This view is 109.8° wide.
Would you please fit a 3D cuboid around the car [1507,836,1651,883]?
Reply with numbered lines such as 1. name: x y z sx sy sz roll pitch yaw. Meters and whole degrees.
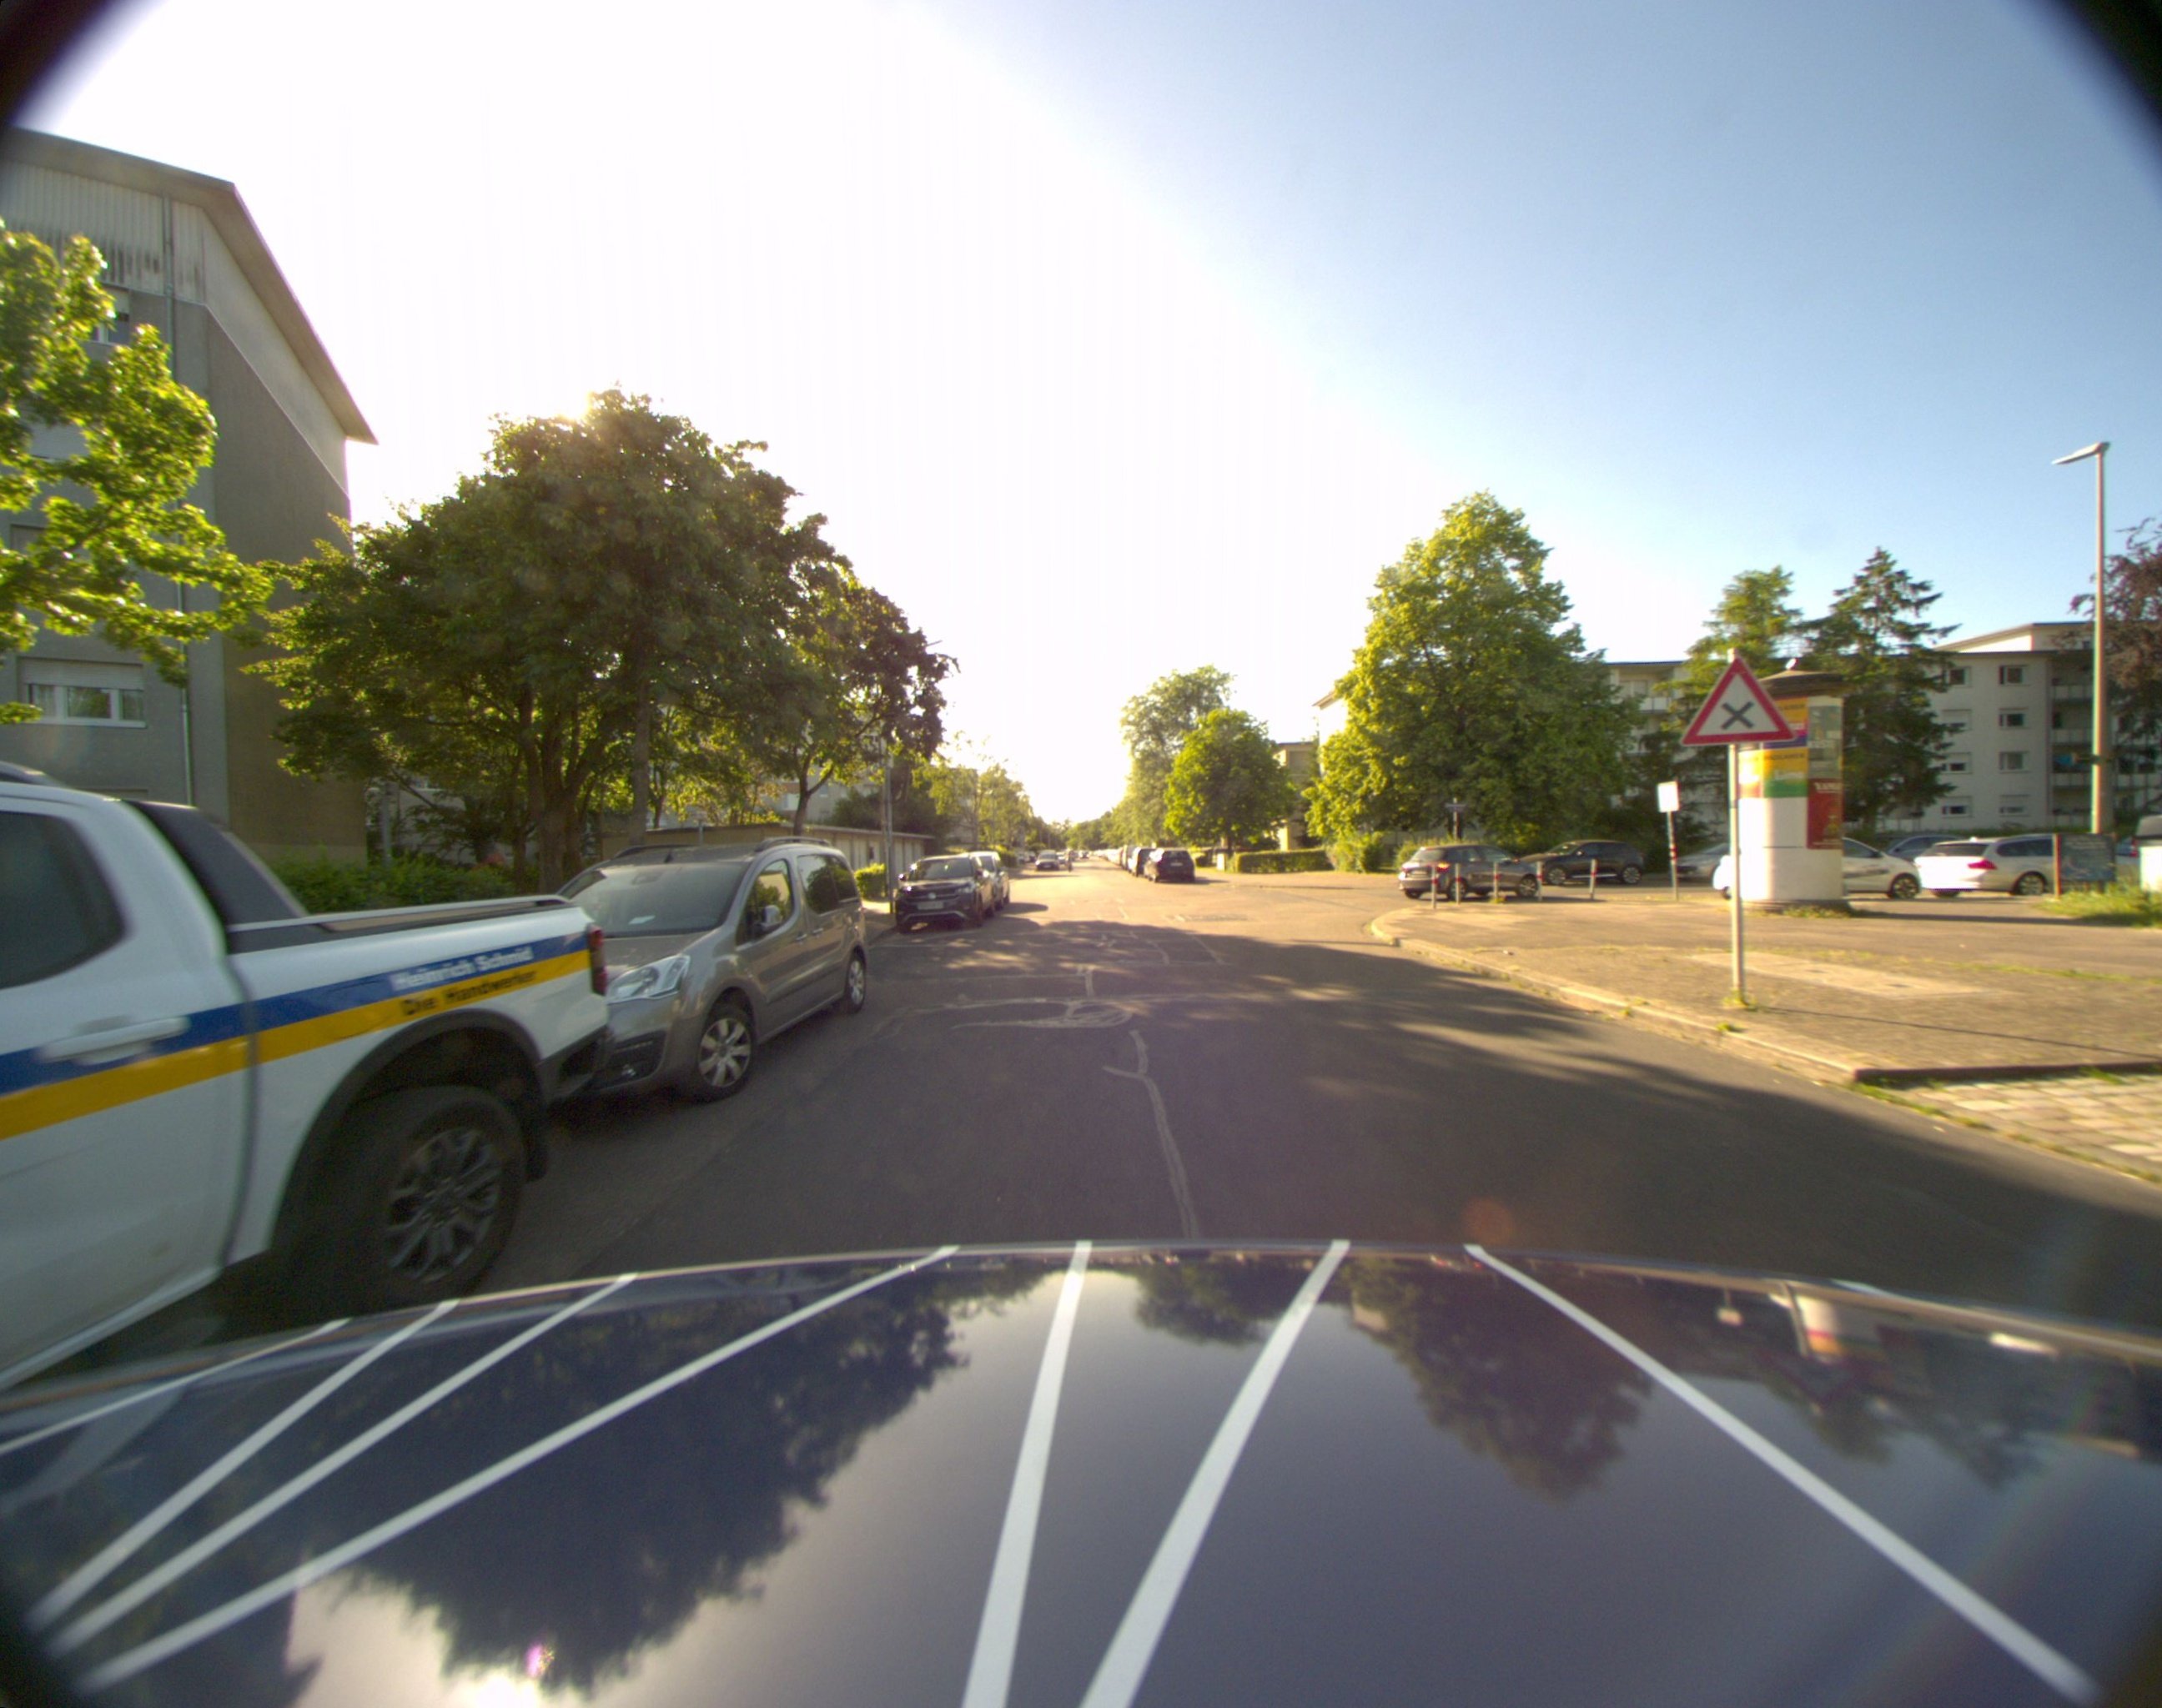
1. car: 17.383 0.168 26.629 3.925 1.534 1.745 -1 1 -2

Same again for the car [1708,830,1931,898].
1. car: 16.919 0.203 17.531 3.528 1.454 1.737 -1 1 -2

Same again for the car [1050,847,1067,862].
1. car: -2.468 0.012 84.289 1.732 1.586 3.812 -2 0 0

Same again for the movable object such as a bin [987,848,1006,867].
1. movable object such as a bin: -6.397 0.271 57.629 1.278 1.434 1.179 0 2 -2

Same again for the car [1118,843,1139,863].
1. car: 4.610 -0.089 74.423 1.732 1.941 3.812 1 1 0

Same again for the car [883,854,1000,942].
1. car: -2.976 0.869 17.074 1.809 1.585 4.022 -4 1 -1

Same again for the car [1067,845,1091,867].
1. car: -0.140 0.135 58.649 1.732 1.586 3.812 -2 0 0

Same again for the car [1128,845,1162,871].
1. car: 4.246 0.233 50.951 1.732 1.630 4.168 1 0 -2

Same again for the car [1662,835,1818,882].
1. car: 22.717 0.115 26.289 3.925 1.534 1.745 -1 1 -2

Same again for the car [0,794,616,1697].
1. car: -3.182 0.847 0.938 1.911 1.829 5.273 -4 0 -1

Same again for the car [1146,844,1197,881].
1. car: 4.140 0.376 35.352 1.784 1.565 4.423 -1 0 0

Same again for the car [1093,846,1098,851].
1. car: 4.254 -1.587 222.475 1.632 1.619 3.555 1 0 0

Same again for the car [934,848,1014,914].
1. car: -3.004 0.701 22.221 1.773 1.601 4.371 3 1 -2

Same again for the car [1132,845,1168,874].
1. car: 4.051 0.304 45.300 1.817 1.672 3.648 1 1 0

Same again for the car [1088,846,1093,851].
1. car: 2.973 -1.784 239.823 1.632 1.629 3.565 1 0 0

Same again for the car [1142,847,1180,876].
1. car: 4.256 0.369 40.647 1.627 1.428 3.653 1 0 0

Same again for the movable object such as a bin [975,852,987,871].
1. movable object such as a bin: -7.505 0.559 57.071 0.754 1.434 0.848 0 2 -2

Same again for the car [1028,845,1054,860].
1. car: -5.971 -0.266 113.444 3.777 2.002 1.810 -4 2 -1

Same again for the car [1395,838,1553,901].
1. car: 10.695 0.357 20.665 4.006 1.547 1.651 -1 2 -23

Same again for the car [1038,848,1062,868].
1. car: -2.513 0.294 61.894 1.732 1.462 3.812 -2 0 0

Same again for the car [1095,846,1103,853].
1. car: 4.132 -1.063 171.906 1.632 1.619 3.555 1 0 0

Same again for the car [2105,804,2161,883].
1. car: 27.297 -0.259 17.814 4.342 1.845 1.737 -1 2 -2

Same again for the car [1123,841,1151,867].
1. car: 4.342 0.002 59.152 1.909 1.930 4.510 1 0 1

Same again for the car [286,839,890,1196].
1. car: -3.182 0.870 6.291 1.838 1.780 4.555 -4 0 1

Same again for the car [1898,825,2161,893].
1. car: 22.020 0.083 17.625 4.342 1.454 1.737 -1 1 -2

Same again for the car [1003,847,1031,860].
1. car: -8.195 -0.092 97.508 3.505 1.499 1.601 -4 2 -6
